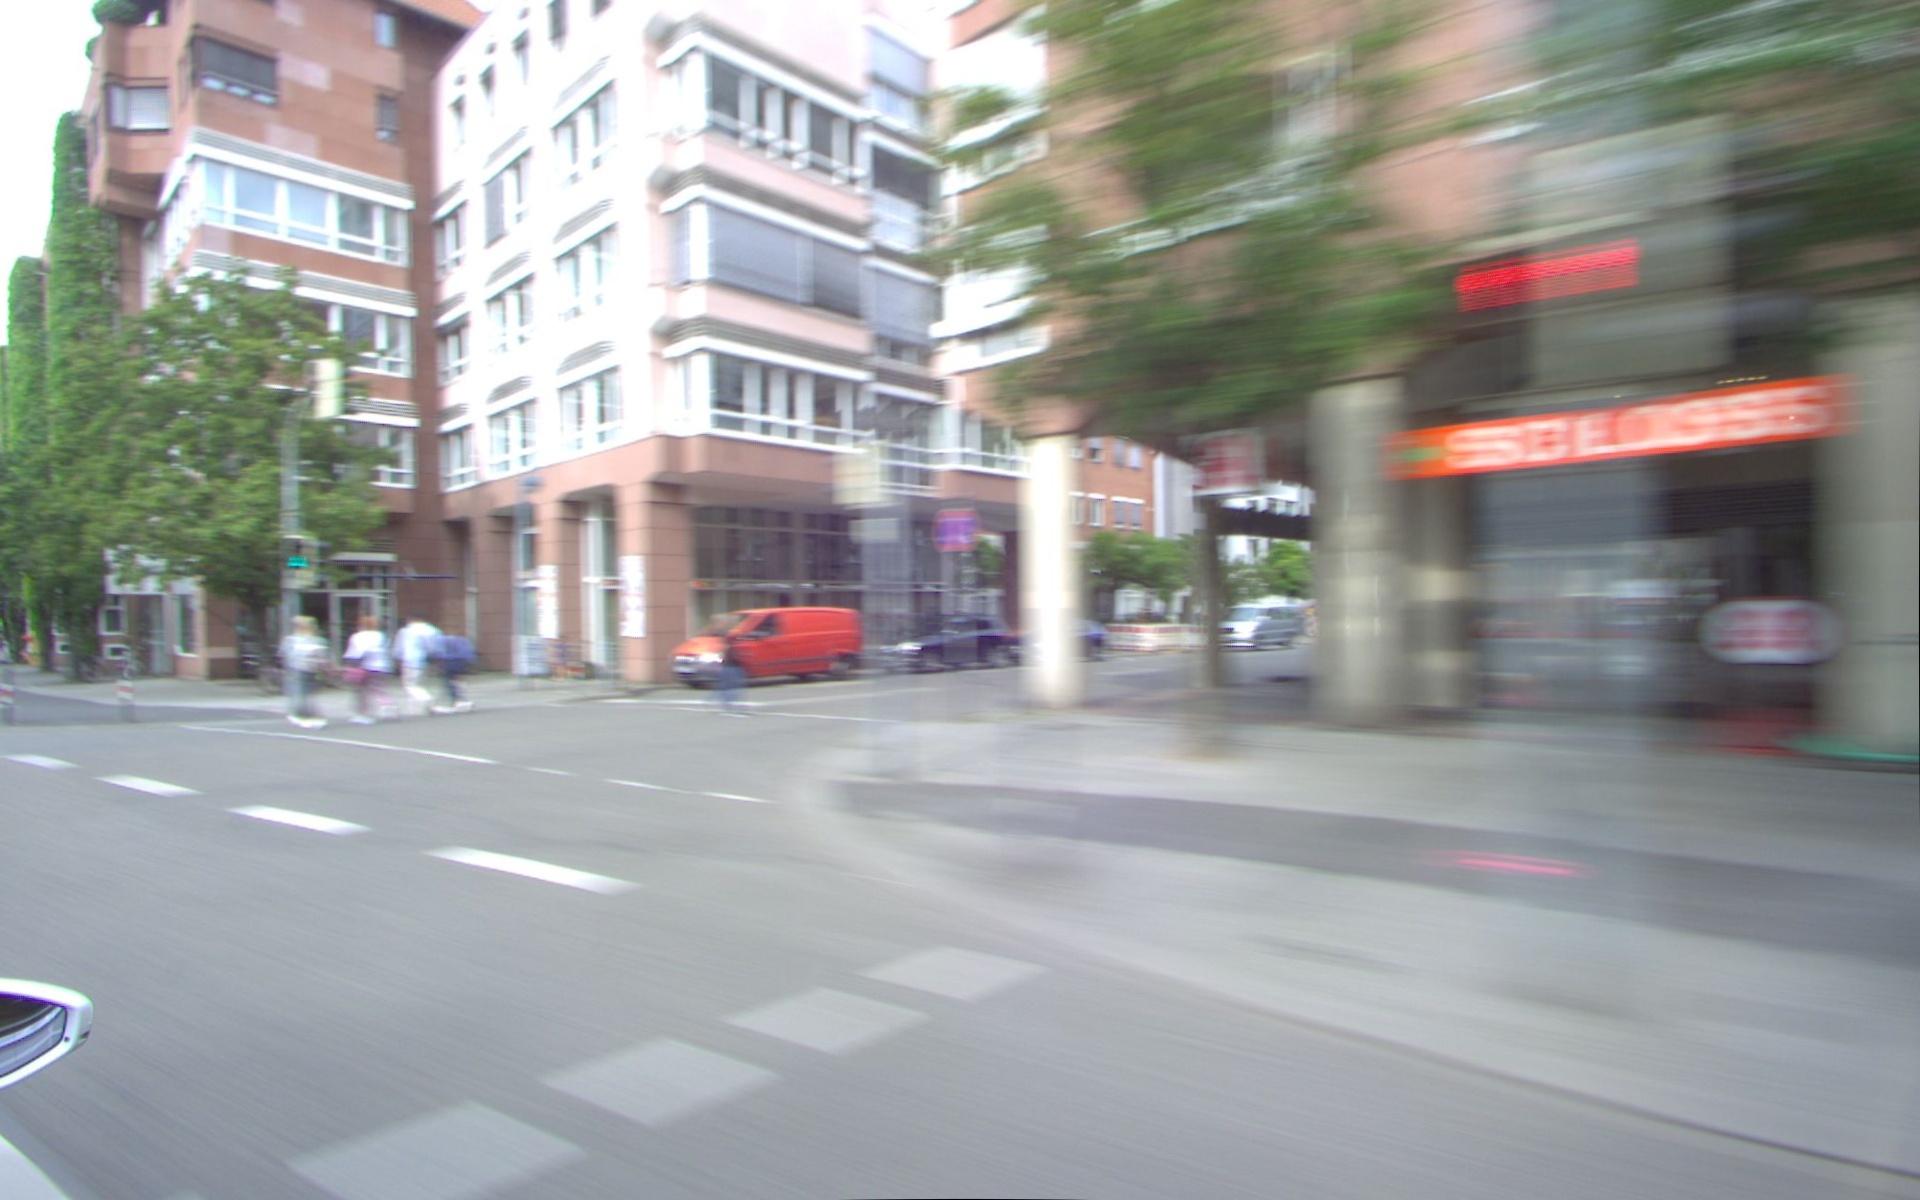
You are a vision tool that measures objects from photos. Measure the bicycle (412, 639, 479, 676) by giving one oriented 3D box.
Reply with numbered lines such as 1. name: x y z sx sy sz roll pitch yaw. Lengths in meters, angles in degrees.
1. bicycle: -15.480 1.712 30.141 0.540 1.021 1.722 -1 -1 39

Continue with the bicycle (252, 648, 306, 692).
1. bicycle: -16.842 1.716 24.763 1.714 1.021 0.614 -1 -1 38

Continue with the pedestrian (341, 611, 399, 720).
1. pedestrian: -9.147 0.992 15.529 0.840 1.637 0.514 -1 0 40

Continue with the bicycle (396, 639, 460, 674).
1. bicycle: -16.498 1.728 31.089 0.419 1.021 1.722 -1 -1 39

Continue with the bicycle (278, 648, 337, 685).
1. bicycle: -17.719 1.807 27.199 1.286 0.880 0.451 -3 1 -35

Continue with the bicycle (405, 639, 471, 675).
1. bicycle: -15.905 1.718 30.547 0.540 1.021 1.722 -1 -1 39

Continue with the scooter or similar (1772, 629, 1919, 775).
1. scooter or similar: 7.863 0.847 8.567 1.391 1.185 0.550 -1 0 42

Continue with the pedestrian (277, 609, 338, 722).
1. pedestrian: -9.733 0.958 14.927 0.840 1.637 0.515 -1 0 38

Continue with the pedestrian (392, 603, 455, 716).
1. pedestrian: -9.052 0.979 16.893 0.840 1.852 0.673 0 0 40

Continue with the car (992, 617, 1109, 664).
1. car: 3.020 1.324 32.909 1.709 1.423 3.943 -3 -2 45

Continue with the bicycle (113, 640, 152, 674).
1. bicycle: -26.252 1.796 31.761 1.714 1.021 0.614 -1 -1 39

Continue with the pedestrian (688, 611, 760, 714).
1. pedestrian: -3.717 0.964 15.783 0.936 1.558 0.672 -1 0 41

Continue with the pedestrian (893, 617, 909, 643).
1. pedestrian: -2.021 1.031 34.357 0.360 0.885 0.423 0 0 42

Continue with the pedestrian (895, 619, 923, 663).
1. pedestrian: -1.685 1.338 33.092 0.612 1.432 0.646 0 0 42

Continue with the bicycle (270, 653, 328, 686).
1. bicycle: -17.642 1.853 26.725 1.286 0.824 0.441 0 -1 -35

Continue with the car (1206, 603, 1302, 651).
1. car: 12.546 1.113 42.582 1.967 1.925 4.641 -1 -1 45

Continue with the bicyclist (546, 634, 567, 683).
1. bicyclist: -10.639 1.540 26.406 0.489 1.261 0.479 0 0 -19

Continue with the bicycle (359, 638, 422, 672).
1. bicycle: -18.512 1.774 32.563 0.466 1.021 1.722 -1 -1 39

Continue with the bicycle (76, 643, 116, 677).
1. bicycle: -26.600 1.833 30.821 1.714 1.021 0.614 -1 -1 39

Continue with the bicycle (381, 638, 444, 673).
1. bicycle: -17.308 1.746 31.684 0.466 1.021 1.722 -1 -1 39

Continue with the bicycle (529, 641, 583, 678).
1. bicycle: -10.637 1.555 26.405 1.297 0.927 0.474 0 0 -20

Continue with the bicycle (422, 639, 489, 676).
1. bicycle: -14.989 1.703 29.793 0.540 1.021 1.722 -1 -1 39

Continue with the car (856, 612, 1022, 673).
1. car: -0.529 1.198 29.151 1.981 1.610 4.797 -4 -3 45

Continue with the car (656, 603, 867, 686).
1. car: -4.786 1.047 24.643 1.981 1.848 4.797 -3 -3 45

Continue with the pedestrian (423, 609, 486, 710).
1. pedestrian: -8.890 1.024 17.590 1.010 1.723 0.648 -1 0 41

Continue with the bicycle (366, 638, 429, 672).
1. bicycle: -18.118 1.769 32.280 0.425 1.021 1.722 -1 -1 39

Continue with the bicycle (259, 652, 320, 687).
1. bicycle: -17.478 1.800 26.103 1.288 0.849 0.450 0 -1 -40

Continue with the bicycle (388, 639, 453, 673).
1. bicycle: -16.887 1.737 31.376 0.473 1.021 1.722 -1 -1 39

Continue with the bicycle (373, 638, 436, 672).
1. bicycle: -17.727 1.757 31.975 0.432 1.021 1.722 -1 -1 39

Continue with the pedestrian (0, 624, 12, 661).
1. pedestrian: -48.999 2.168 51.248 0.774 1.883 0.643 -1 0 43

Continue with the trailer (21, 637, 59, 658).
1. trailer: -49.296 2.534 53.655 0.978 1.073 1.605 0 -1 -21
